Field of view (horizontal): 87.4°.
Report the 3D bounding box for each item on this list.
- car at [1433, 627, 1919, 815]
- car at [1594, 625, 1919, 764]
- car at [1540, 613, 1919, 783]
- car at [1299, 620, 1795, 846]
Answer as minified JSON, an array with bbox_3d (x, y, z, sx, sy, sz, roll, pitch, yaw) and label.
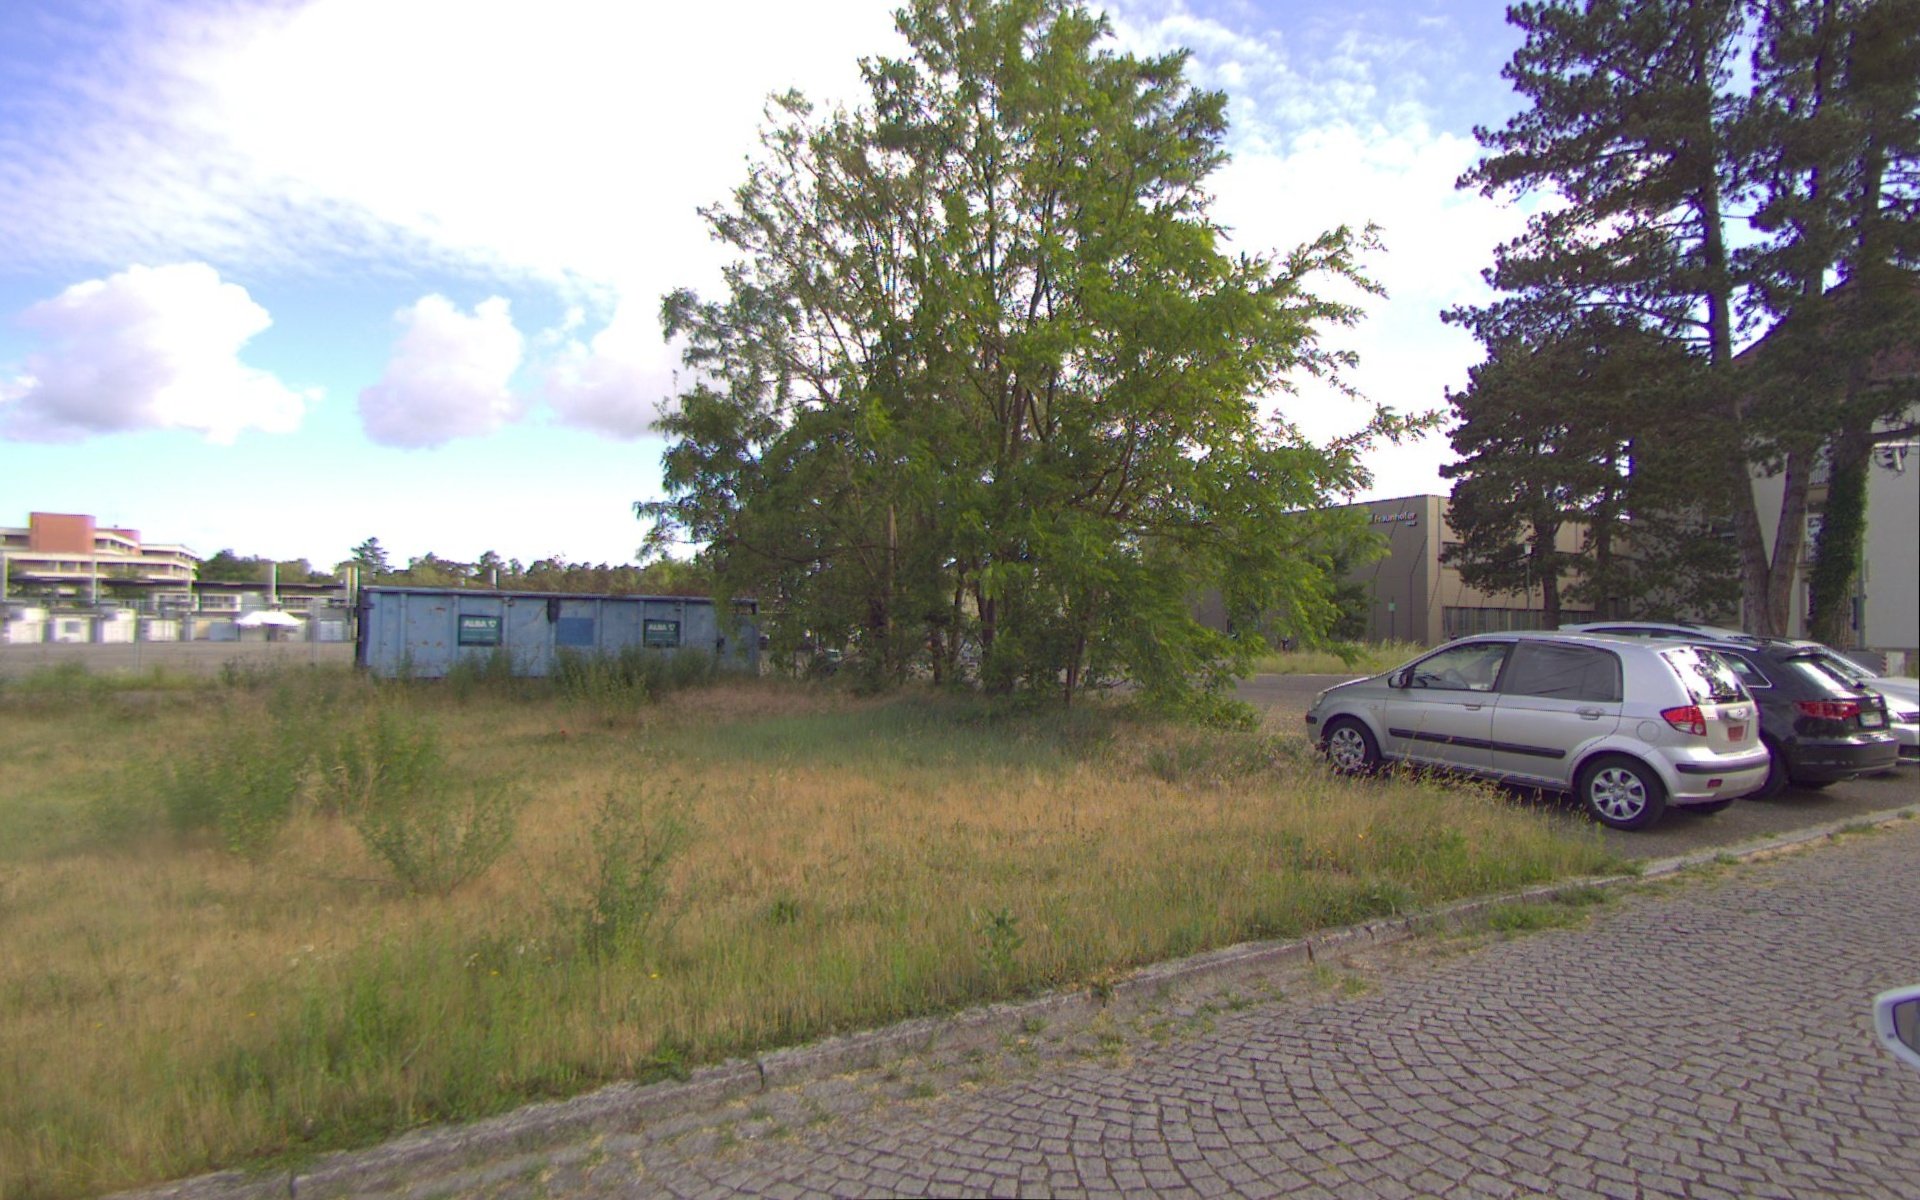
[{"bbox_3d":[7.256,1.091,10.585,1.676,1.427,3.816,1,0,-31],"label":"car"},{"bbox_3d":[11.544,1.209,13.764,1.811,1.461,4.450,1,1,-33],"label":"car"},{"bbox_3d":[9.584,1.047,12.422,1.717,1.628,3.809,1,1,-33],"label":"car"},{"bbox_3d":[5.109,1.008,9.194,1.629,1.495,3.556,2,0,-32],"label":"car"}]
